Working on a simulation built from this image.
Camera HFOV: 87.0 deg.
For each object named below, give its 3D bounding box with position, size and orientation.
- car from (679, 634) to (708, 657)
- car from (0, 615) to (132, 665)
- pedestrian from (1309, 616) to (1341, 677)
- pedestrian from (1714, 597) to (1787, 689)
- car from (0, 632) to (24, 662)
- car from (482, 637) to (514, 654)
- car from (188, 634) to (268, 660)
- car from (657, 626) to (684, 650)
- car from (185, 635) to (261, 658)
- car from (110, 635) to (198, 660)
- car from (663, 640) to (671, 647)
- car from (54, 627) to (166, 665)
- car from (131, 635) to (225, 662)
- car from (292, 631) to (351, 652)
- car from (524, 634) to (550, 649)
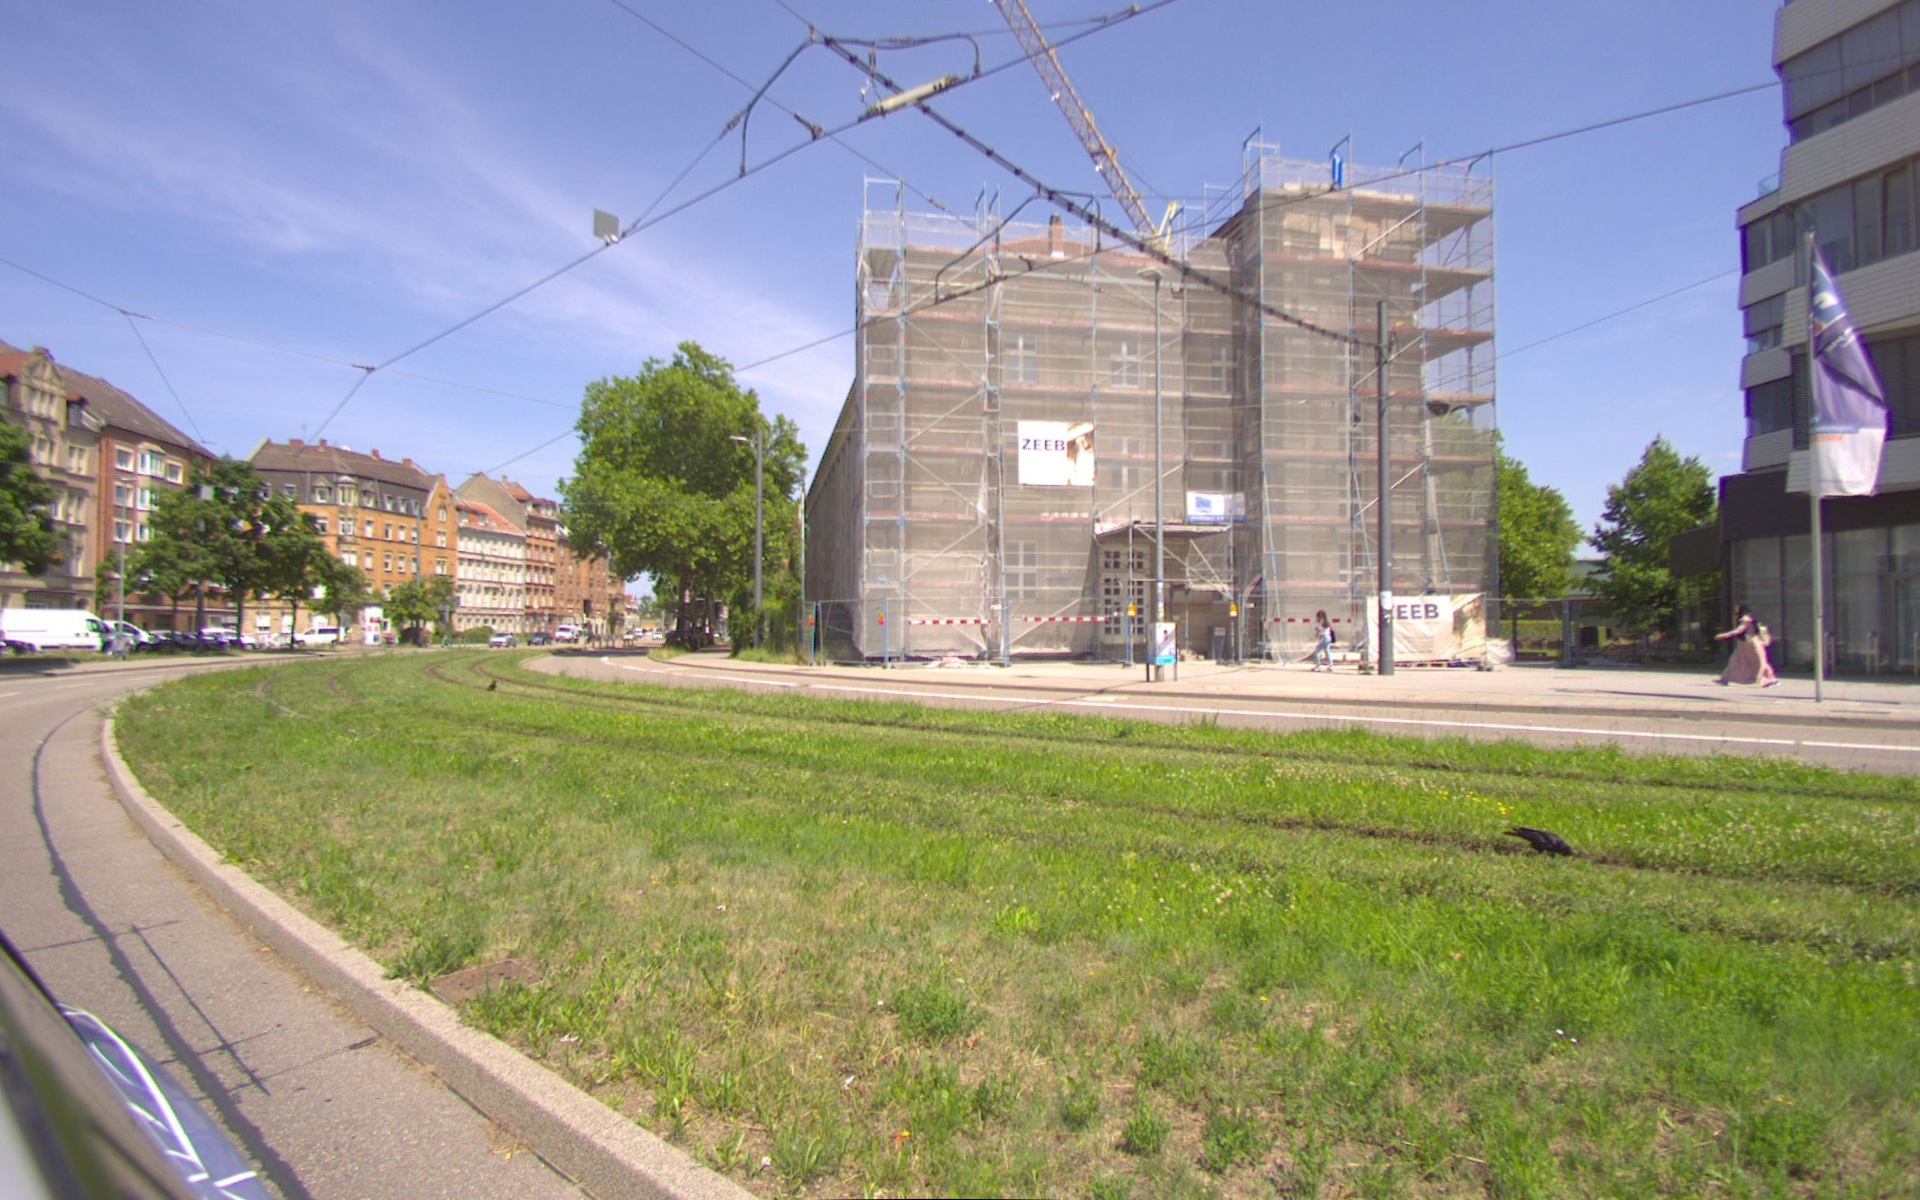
[{"bbox_3d":[-22.039,3.726,83.686,1.967,1.825,4.310,-1,-2,-10],"label":"car"},{"bbox_3d":[-47.394,2.085,53.401,2.237,2.479,5.475,-3,-2,41],"label":"car"},{"bbox_3d":[9.336,1.195,25.905,0.573,1.530,0.589,-2,-2,2],"label":"pedestrian"},{"bbox_3d":[14.602,0.790,18.716,0.912,1.643,0.741,-3,-2,32],"label":"pedestrian"},{"bbox_3d":[-45.336,2.200,45.686,1.971,1.349,4.371,-3,-2,41],"label":"car"},{"bbox_3d":[-43.427,4.262,95.193,1.772,1.586,4.009,-1,-2,-11],"label":"car"},{"bbox_3d":[-50.311,3.214,69.666,4.339,1.644,2.005,0,-2,-34],"label":"car"},{"bbox_3d":[-18.222,2.393,63.781,1.566,1.434,4.335,-1,-2,-16],"label":"car"},{"bbox_3d":[-48.764,3.079,67.058,3.932,1.410,1.829,0,-2,-33],"label":"car"},{"bbox_3d":[-48.048,2.823,60.423,3.932,1.397,1.829,0,-2,-33],"label":"car"},{"bbox_3d":[-73.371,10.883,253.509,1.722,1.405,4.359,-3,-1,-15],"label":"car"},{"bbox_3d":[-47.711,2.567,56.903,4.772,1.988,2.079,0,-2,-41],"label":"car"},{"bbox_3d":[-48.971,3.042,63.495,4.557,1.508,1.970,0,-2,-36],"label":"car"},{"bbox_3d":[-64.689,4.188,102.646,4.770,1.953,2.174,-1,-2,-24],"label":"car"},{"bbox_3d":[-45.203,4.440,108.273,1.772,1.586,4.009,-1,-2,-11],"label":"car"}]
